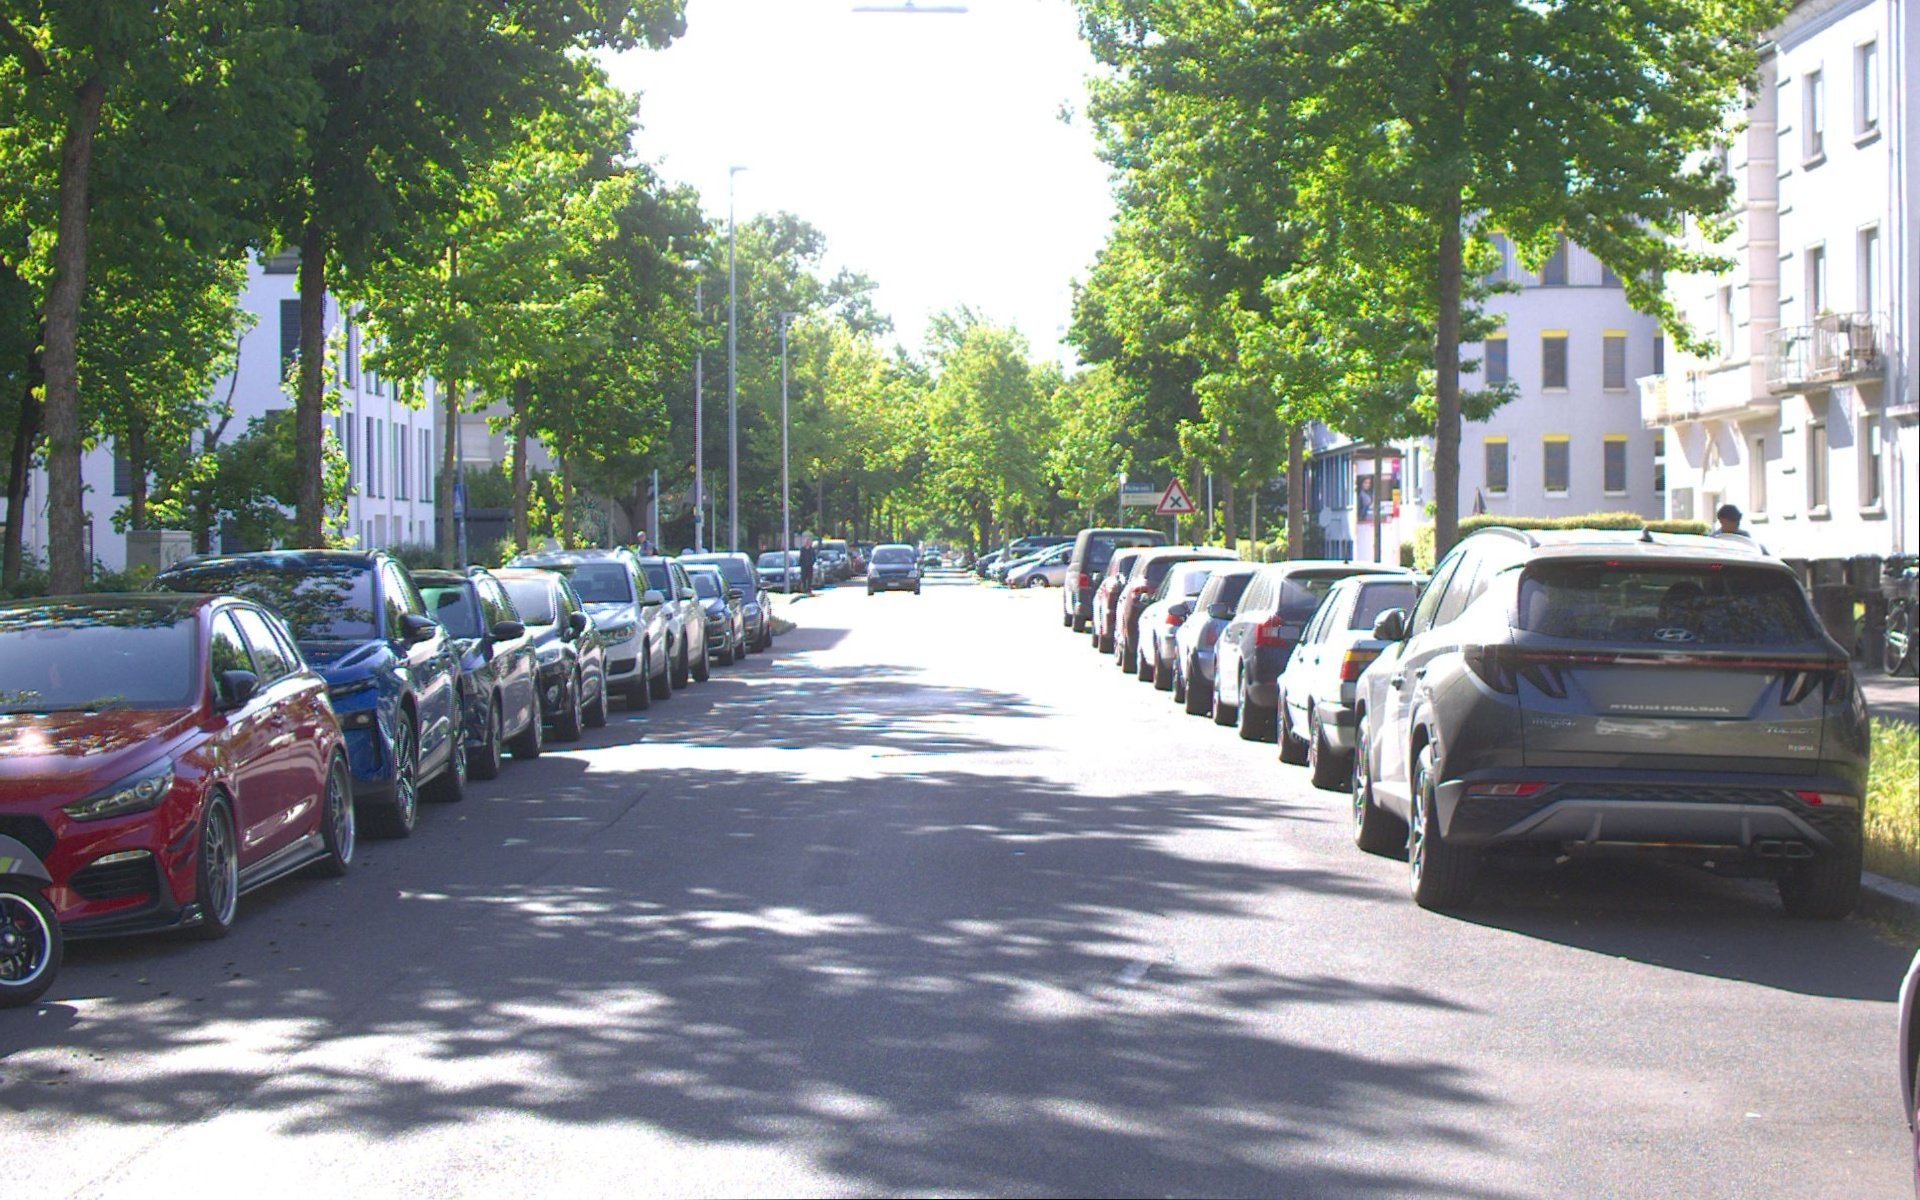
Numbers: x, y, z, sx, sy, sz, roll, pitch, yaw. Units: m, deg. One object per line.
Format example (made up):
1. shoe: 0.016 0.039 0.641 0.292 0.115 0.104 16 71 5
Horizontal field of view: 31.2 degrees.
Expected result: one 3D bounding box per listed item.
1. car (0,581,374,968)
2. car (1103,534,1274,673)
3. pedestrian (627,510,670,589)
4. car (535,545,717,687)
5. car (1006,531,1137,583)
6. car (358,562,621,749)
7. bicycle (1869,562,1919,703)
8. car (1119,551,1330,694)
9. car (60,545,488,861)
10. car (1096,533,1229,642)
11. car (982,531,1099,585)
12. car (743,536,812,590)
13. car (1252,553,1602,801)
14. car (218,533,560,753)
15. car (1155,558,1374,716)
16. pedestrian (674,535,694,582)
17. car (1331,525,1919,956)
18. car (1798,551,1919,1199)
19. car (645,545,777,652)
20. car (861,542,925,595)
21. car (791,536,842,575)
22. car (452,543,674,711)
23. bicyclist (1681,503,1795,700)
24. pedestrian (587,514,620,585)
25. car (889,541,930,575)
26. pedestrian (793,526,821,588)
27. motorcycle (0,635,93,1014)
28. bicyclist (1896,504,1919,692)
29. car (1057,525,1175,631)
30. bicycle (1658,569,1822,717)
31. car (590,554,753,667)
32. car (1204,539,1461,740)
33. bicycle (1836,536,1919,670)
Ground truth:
1. car: -3.854 0.667 14.998 1.779 1.374 4.262 -2 1 0
2. car: 2.993 0.003 45.812 1.907 1.693 4.314 2 1 0
3. pedestrian: -7.980 -1.298 88.001 0.859 2.007 0.981 -1 1 8
4. car: -3.961 0.153 41.289 1.710 1.539 3.930 -3 1 1
5. car: 3.513 -1.357 108.605 3.986 1.581 1.727 -1 1 -4
6. car: -4.058 0.435 30.218 1.762 1.439 3.909 -2 1 -1
7. bicycle: 8.242 0.269 28.435 0.683 1.149 2.403 -1 1 -3
8. car: 2.970 0.212 39.514 1.897 1.469 4.700 2 1 -1
9. car: -3.924 0.509 20.385 1.789 1.561 4.466 -3 1 -3
10. car: 3.137 -0.230 53.996 1.834 1.594 4.158 2 1 1
11. car: 2.810 -1.498 121.155 3.986 1.824 2.000 -1 1 -2
12. car: -5.825 -1.205 110.208 1.993 1.665 4.000 -1 1 0
13. car: 3.090 0.449 23.585 1.750 1.449 4.462 2 1 0
14. car: -4.116 0.257 25.406 1.829 1.448 4.122 -2 1 0
15. car: 2.944 0.322 33.921 1.788 1.448 3.782 0 1 0
16. pedestrian: -11.121 -1.668 138.695 0.762 1.894 0.819 -1 1 -6
17. car: 2.928 0.498 16.068 1.926 1.646 5.095 1 1 2
18. car: 2.959 0.708 6.488 1.654 1.527 3.970 2 1 -1
19. car: -4.017 -0.057 56.072 1.839 1.589 4.262 -2 1 -1
20. car: -2.127 -1.016 108.536 1.783 1.603 4.001 -1 1 -4
21. car: -6.136 -1.914 147.282 1.993 1.579 4.000 -1 1 0
22. car: -4.045 0.230 35.652 1.811 1.590 4.233 -1 1 0
23. bicyclist: 6.454 0.004 28.554 0.677 1.604 0.922 -1 1 -3
24. pedestrian: -10.231 -1.455 98.755 0.859 2.007 0.981 -1 1 -2
25. car: -2.393 -2.025 163.714 1.895 1.555 4.000 -1 1 0
26. pedestrian: -4.692 -1.313 105.282 0.715 1.894 0.837 -1 1 -10
27. motorcycle: -4.255 0.815 11.983 2.285 1.266 0.808 -2 1 -10
28. bicyclist: 8.241 -0.021 28.391 0.676 1.548 1.022 -1 1 -3
29. car: 2.963 -0.452 66.181 1.971 1.942 4.986 -1 1 -1
30. bicycle: 6.458 0.329 28.579 0.683 1.149 2.403 -1 1 -3
31. car: -4.148 0.121 50.004 1.993 1.448 4.262 -3 1 -1
32. car: 3.086 0.272 29.225 1.692 1.535 4.441 1 1 0
33. bicycle: 9.235 0.014 33.230 0.838 1.253 2.232 0 1 -4
